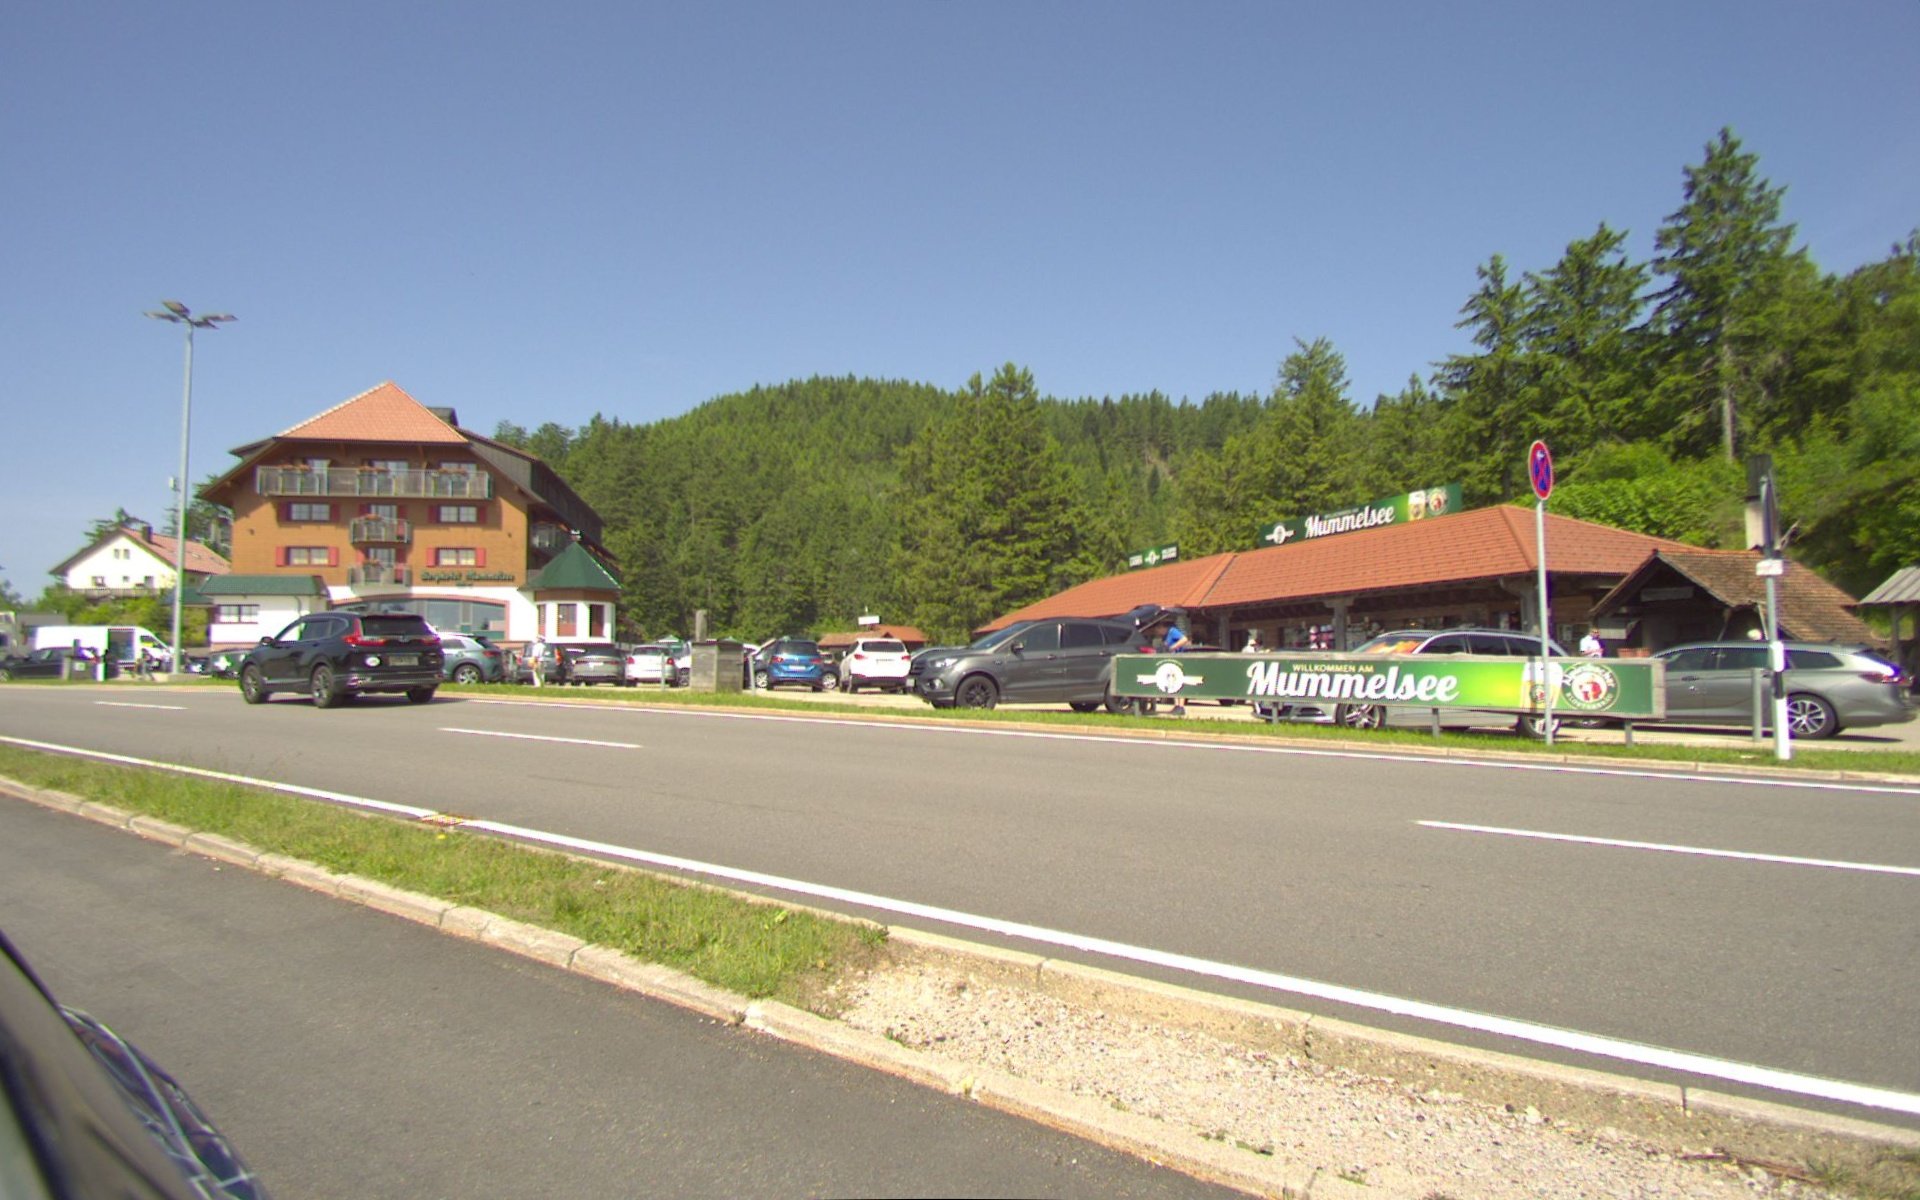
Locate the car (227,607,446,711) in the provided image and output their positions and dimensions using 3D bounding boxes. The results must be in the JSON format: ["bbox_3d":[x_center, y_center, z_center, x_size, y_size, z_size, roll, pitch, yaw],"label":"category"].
[{"bbox_3d":[-11.289,1.027,18.270,4.116,1.695,1.703,-2,-3,32],"label":"car"}]

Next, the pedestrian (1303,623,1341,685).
[{"bbox_3d":[12.043,1.787,33.665,0.911,2.029,0.725,1,-2,-22],"label":"pedestrian"}]

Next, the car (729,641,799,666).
[{"bbox_3d":[-13.968,3.816,72.058,4.764,1.729,1.925,1,-3,-14],"label":"car"}]

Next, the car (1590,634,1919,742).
[{"bbox_3d":[12.121,1.269,15.405,1.697,1.441,4.002,3,-4,-45],"label":"car"}]

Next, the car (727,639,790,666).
[{"bbox_3d":[-13.527,3.514,67.966,4.026,1.729,1.925,1,-3,-14],"label":"car"}]

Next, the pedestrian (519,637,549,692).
[{"bbox_3d":[-12.932,1.939,30.722,0.733,1.637,0.685,1,-3,-28],"label":"pedestrian"}]

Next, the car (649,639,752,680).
[{"bbox_3d":[-10.758,2.480,41.961,4.025,1.641,1.829,1,-3,-15],"label":"car"}]

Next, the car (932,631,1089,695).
[{"bbox_3d":[1.405,1.780,28.626,4.026,1.729,1.925,1,-3,-14],"label":"car"}]

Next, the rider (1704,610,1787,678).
[{"bbox_3d":[15.186,0.848,19.576,0.826,1.284,0.910,0,-2,-5],"label":"rider"}]

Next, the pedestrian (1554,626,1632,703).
[{"bbox_3d":[14.565,1.478,23.317,0.962,1.711,1.166,2,-3,-29],"label":"pedestrian"}]

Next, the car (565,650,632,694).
[{"bbox_3d":[-13.185,2.605,37.126,1.794,1.524,4.105,1,-3,-13],"label":"car"}]

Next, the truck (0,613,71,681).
[{"bbox_3d":[-56.973,2.869,60.459,2.834,3.850,9.045,-1,-2,-21],"label":"truck"}]

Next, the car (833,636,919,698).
[{"bbox_3d":[-2.590,1.977,30.349,1.888,1.729,4.106,1,-3,-15],"label":"car"}]

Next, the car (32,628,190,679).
[{"bbox_3d":[-49.317,3.092,59.052,6.855,2.812,2.671,2,-3,-40],"label":"car"}]

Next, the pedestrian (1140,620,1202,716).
[{"bbox_3d":[3.741,1.200,17.983,0.733,1.648,0.849,1,-3,-18],"label":"pedestrian"}]

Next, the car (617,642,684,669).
[{"bbox_3d":[-19.976,3.588,65.386,4.026,1.729,1.925,1,-3,-14],"label":"car"}]

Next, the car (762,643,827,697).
[{"bbox_3d":[-5.422,2.224,32.822,1.794,1.641,4.105,1,-3,-13],"label":"car"}]

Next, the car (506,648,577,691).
[{"bbox_3d":[-15.740,2.599,38.260,1.794,1.524,4.105,1,-3,-13],"label":"car"}]

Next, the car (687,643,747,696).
[{"bbox_3d":[-8.021,2.252,33.516,1.794,1.641,4.105,1,-3,-13],"label":"car"}]

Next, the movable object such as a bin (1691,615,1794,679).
[{"bbox_3d":[15.173,0.906,19.660,0.969,1.198,1.218,0,-2,-5],"label":"movable object such as a bin"}]

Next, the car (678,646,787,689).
[{"bbox_3d":[-8.892,2.624,39.529,4.025,1.641,1.829,1,-3,-15],"label":"car"}]

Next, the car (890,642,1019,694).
[{"bbox_3d":[-0.206,2.330,34.834,4.024,1.729,1.926,1,-3,-17],"label":"car"}]

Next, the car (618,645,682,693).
[{"bbox_3d":[-10.602,2.345,34.859,1.794,1.524,4.105,1,-3,-13],"label":"car"}]

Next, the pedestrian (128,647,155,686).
[{"bbox_3d":[-40.518,3.279,50.109,0.668,1.878,0.747,-1,-3,18],"label":"pedestrian"}]

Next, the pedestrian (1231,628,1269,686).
[{"bbox_3d":[10.344,2.008,36.099,0.948,2.029,0.859,1,-2,-21],"label":"pedestrian"}]

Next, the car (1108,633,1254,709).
[{"bbox_3d":[5.385,1.725,25.228,1.888,1.729,4.106,1,-3,-15],"label":"car"}]

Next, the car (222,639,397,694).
[{"bbox_3d":[-20.142,2.064,31.533,4.199,1.641,1.829,1,-3,-15],"label":"car"}]

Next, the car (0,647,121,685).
[{"bbox_3d":[-37.643,2.729,41.897,4.024,1.539,1.830,1,-3,-19],"label":"car"}]

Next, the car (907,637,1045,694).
[{"bbox_3d":[0.487,2.081,32.331,4.026,1.729,1.925,1,-3,-14],"label":"car"}]

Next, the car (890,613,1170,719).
[{"bbox_3d":[1.182,1.127,17.434,4.474,1.669,1.727,1,-3,-17],"label":"car"}]

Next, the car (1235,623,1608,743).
[{"bbox_3d":[6.157,1.083,13.632,4.427,1.441,1.726,1,-3,-14],"label":"car"}]

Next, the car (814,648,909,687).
[{"bbox_3d":[-4.564,3.101,46.761,4.024,1.729,1.926,1,-3,-17],"label":"car"}]

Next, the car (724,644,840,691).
[{"bbox_3d":[-6.593,2.484,37.409,4.025,1.641,1.829,1,-3,-15],"label":"car"}]

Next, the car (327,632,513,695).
[{"bbox_3d":[-14.800,1.754,28.001,4.199,1.641,1.829,1,-3,-15],"label":"car"}]
